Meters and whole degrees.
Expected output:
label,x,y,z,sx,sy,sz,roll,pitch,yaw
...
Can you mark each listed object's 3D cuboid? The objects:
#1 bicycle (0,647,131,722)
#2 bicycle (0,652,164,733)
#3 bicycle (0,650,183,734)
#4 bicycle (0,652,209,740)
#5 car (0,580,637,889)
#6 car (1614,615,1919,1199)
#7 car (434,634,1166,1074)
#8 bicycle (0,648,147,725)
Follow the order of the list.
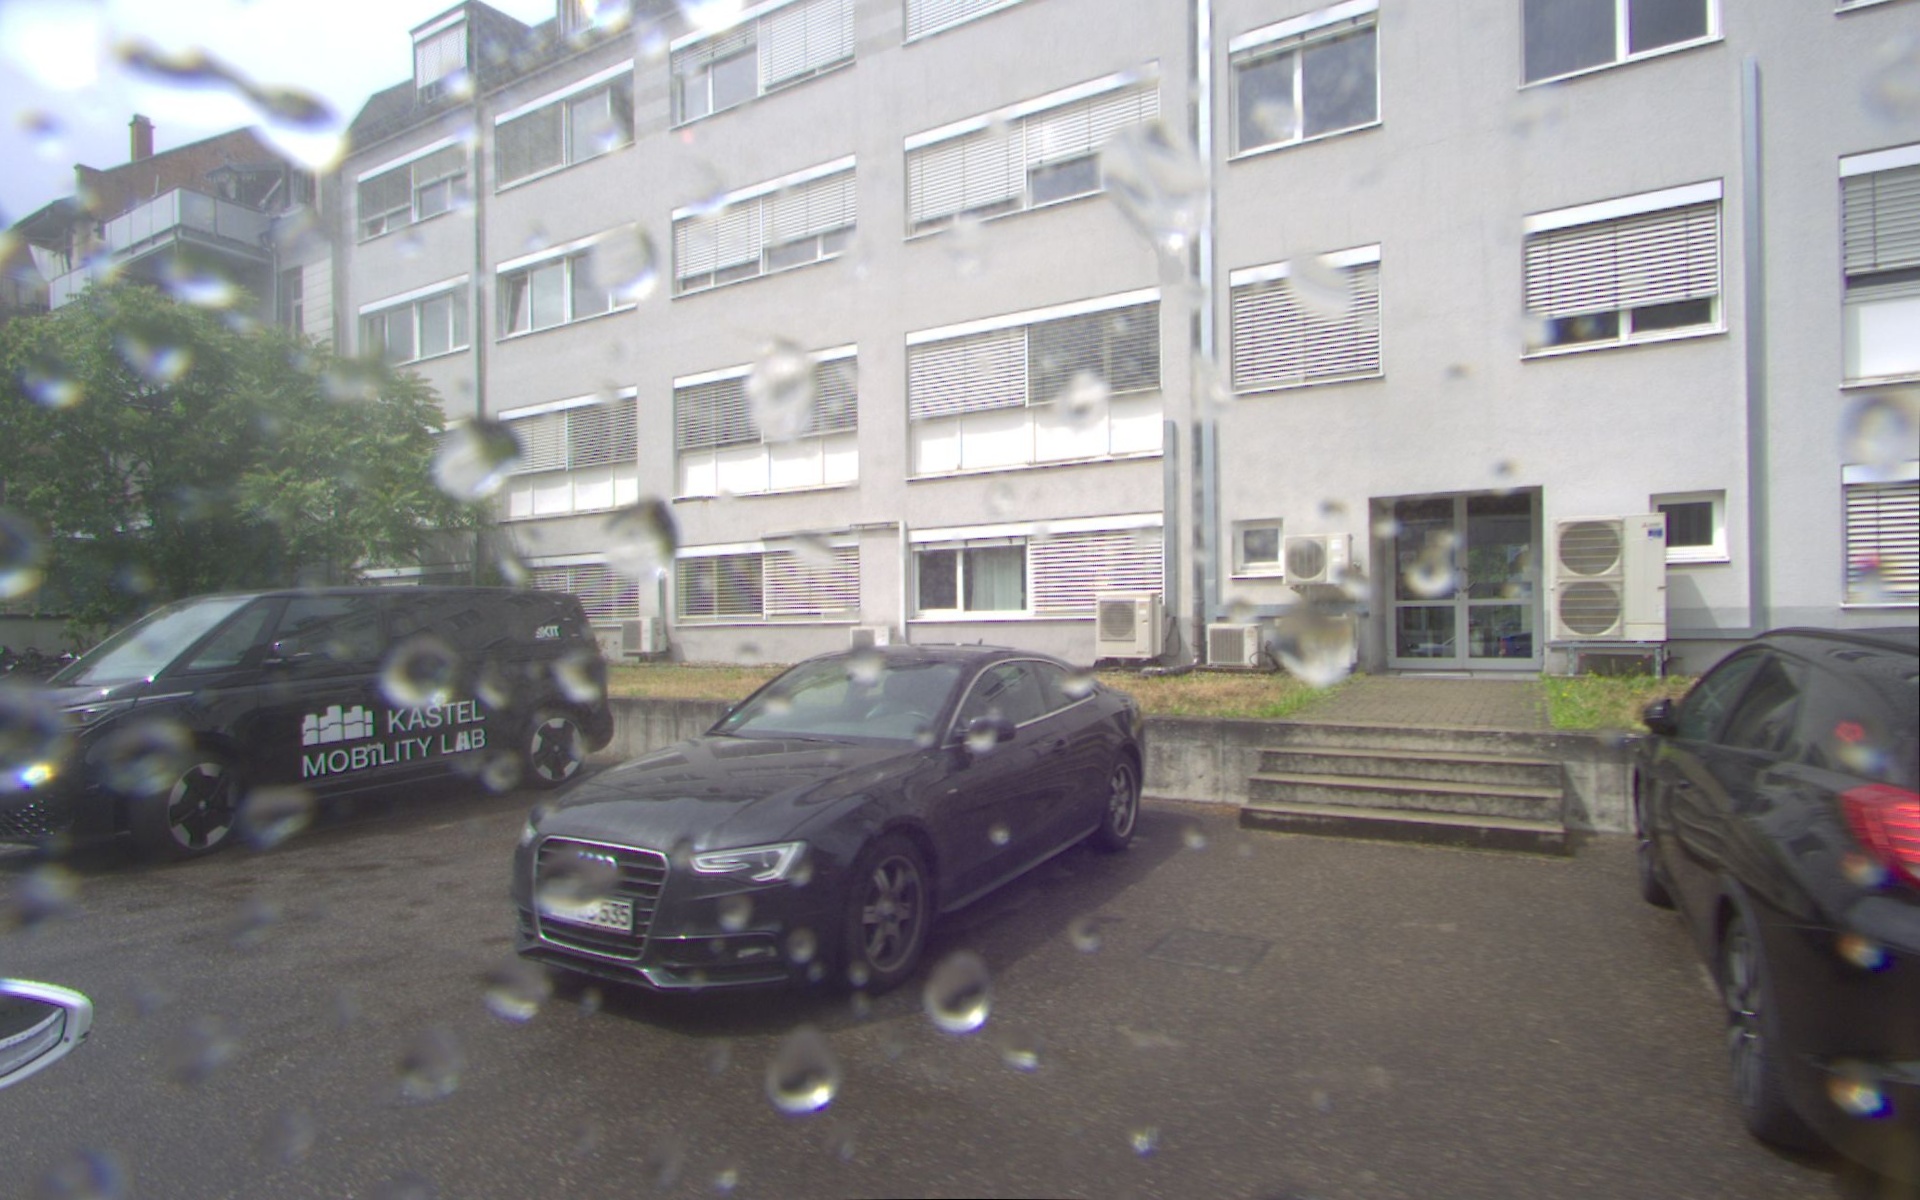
label,x,y,z,sx,sy,sz,roll,pitch,yaw
bicycle,-14.436,1.271,15.137,0.680,1.092,2.838,0,-2,33
bicycle,-13.276,1.309,14.348,0.680,1.092,2.838,0,-2,33
bicycle,-12.679,1.252,13.957,0.680,1.092,2.838,0,-2,33
bicycle,-11.997,1.262,13.496,0.680,1.092,2.918,0,-2,33
car,-5.330,0.826,8.589,2.079,1.857,4.703,-1,0,29
car,3.565,0.789,3.426,1.911,1.419,4.165,-2,-1,29
car,-0.384,0.929,5.704,1.832,1.366,4.348,-1,-1,29
bicycle,-13.857,1.256,14.746,0.680,1.092,2.838,0,-2,33
